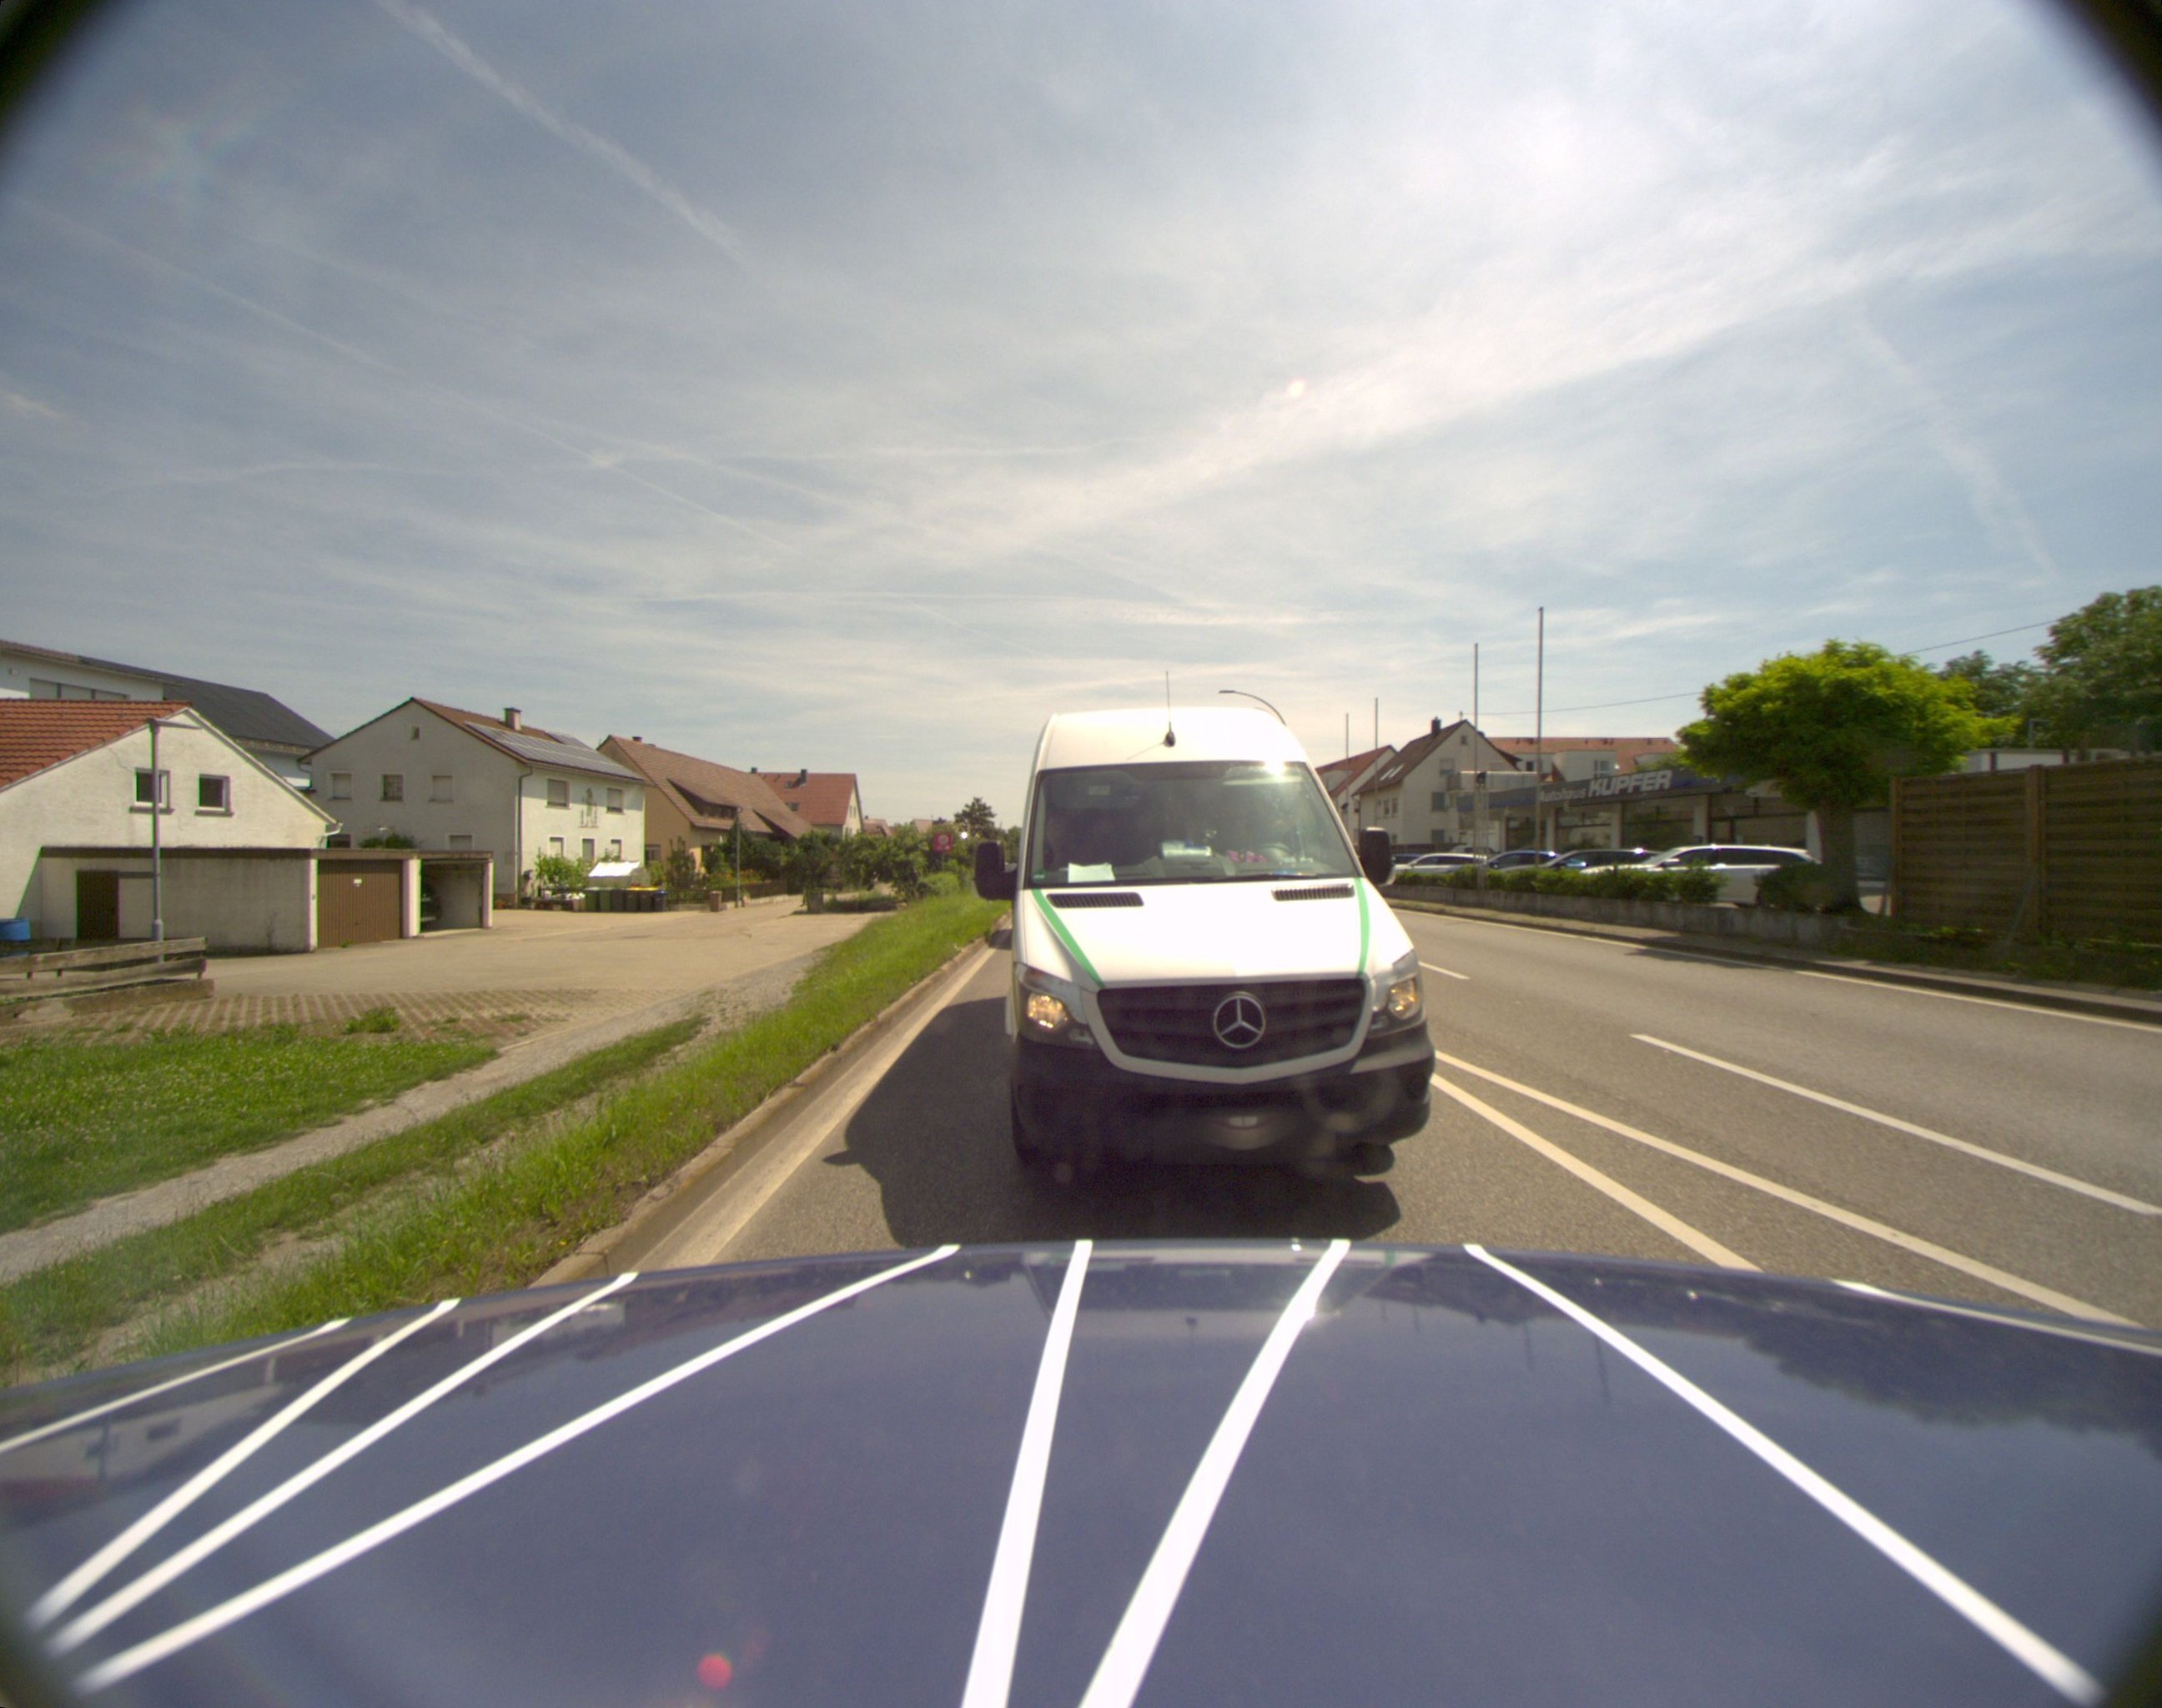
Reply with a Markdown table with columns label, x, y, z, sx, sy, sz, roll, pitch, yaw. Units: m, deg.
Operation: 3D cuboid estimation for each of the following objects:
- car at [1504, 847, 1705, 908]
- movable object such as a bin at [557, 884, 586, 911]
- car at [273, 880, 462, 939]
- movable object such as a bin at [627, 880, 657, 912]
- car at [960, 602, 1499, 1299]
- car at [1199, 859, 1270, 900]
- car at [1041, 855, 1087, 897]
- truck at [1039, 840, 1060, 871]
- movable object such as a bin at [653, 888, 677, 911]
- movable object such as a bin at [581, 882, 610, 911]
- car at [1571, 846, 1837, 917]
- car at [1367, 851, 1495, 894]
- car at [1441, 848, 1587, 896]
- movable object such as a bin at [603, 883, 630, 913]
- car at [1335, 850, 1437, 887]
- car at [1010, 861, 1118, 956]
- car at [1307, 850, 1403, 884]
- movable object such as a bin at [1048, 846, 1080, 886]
| label | x | y | z | sx | sy | sz | roll | pitch | yaw |
| --- | --- | --- | --- | --- | --- | --- | --- | --- | --- |
| car | 14.227 | 0.648 | 20.976 | 4.251 | 1.536 | 1.853 | -2 | 0 | 23 |
| movable object such as a bin | -23.051 | 1.950 | 34.394 | 0.740 | 1.149 | 0.830 | -2 | 0 | -1 |
| car | -21.597 | 1.663 | 23.119 | 3.997 | 1.594 | 1.826 | -1 | 0 | 0 |
| movable object such as a bin | -19.862 | 1.892 | 34.383 | 0.765 | 1.362 | 0.946 | -2 | 0 | -1 |
| car | 0.536 | 0.376 | 5.704 | 1.978 | 2.583 | 5.633 | -2 | 0 | -1 |
| car | 5.782 | 0.914 | 29.200 | 1.819 | 1.409 | 4.615 | -2 | 0 | 1 |
| car | -0.725 | 0.898 | 32.616 | 1.824 | 1.637 | 3.901 | -1 | 0 | -1 |
| truck | -4.048 | 0.211 | 99.499 | 2.506 | 3.847 | 5.497 | -2 | 0 | -1 |
| movable object such as a bin | -18.853 | 2.059 | 34.477 | 0.645 | 1.021 | 0.756 | -2 | 0 | -1 |
| movable object such as a bin | -22.121 | 1.919 | 34.631 | 0.745 | 1.239 | 0.889 | -2 | 0 | -1 |
| car | 13.878 | 0.604 | 17.291 | 4.329 | 1.451 | 1.858 | -1 | 0 | 24 |
| car | 13.488 | 0.703 | 29.350 | 4.303 | 1.510 | 2.003 | -2 | 0 | 27 |
| car | 14.004 | 0.602 | 24.855 | 3.990 | 1.433 | 1.857 | -2 | 0 | 25 |
| movable object such as a bin | -21.201 | 2.007 | 34.681 | 0.678 | 1.330 | 0.820 | -2 | 0 | -1 |
| car | 13.521 | 0.642 | 33.682 | 3.990 | 1.455 | 2.003 | -2 | 0 | 26 |
| car | -0.318 | 0.943 | 14.828 | 1.824 | 1.574 | 3.901 | -1 | 0 | -1 |
| car | 13.572 | 0.659 | 37.612 | 4.255 | 1.521 | 2.003 | -2 | 0 | 26 |
| movable object such as a bin | -1.170 | 0.840 | 55.307 | 1.998 | 2.710 | 5.419 | -1 | 0 | 1 |
